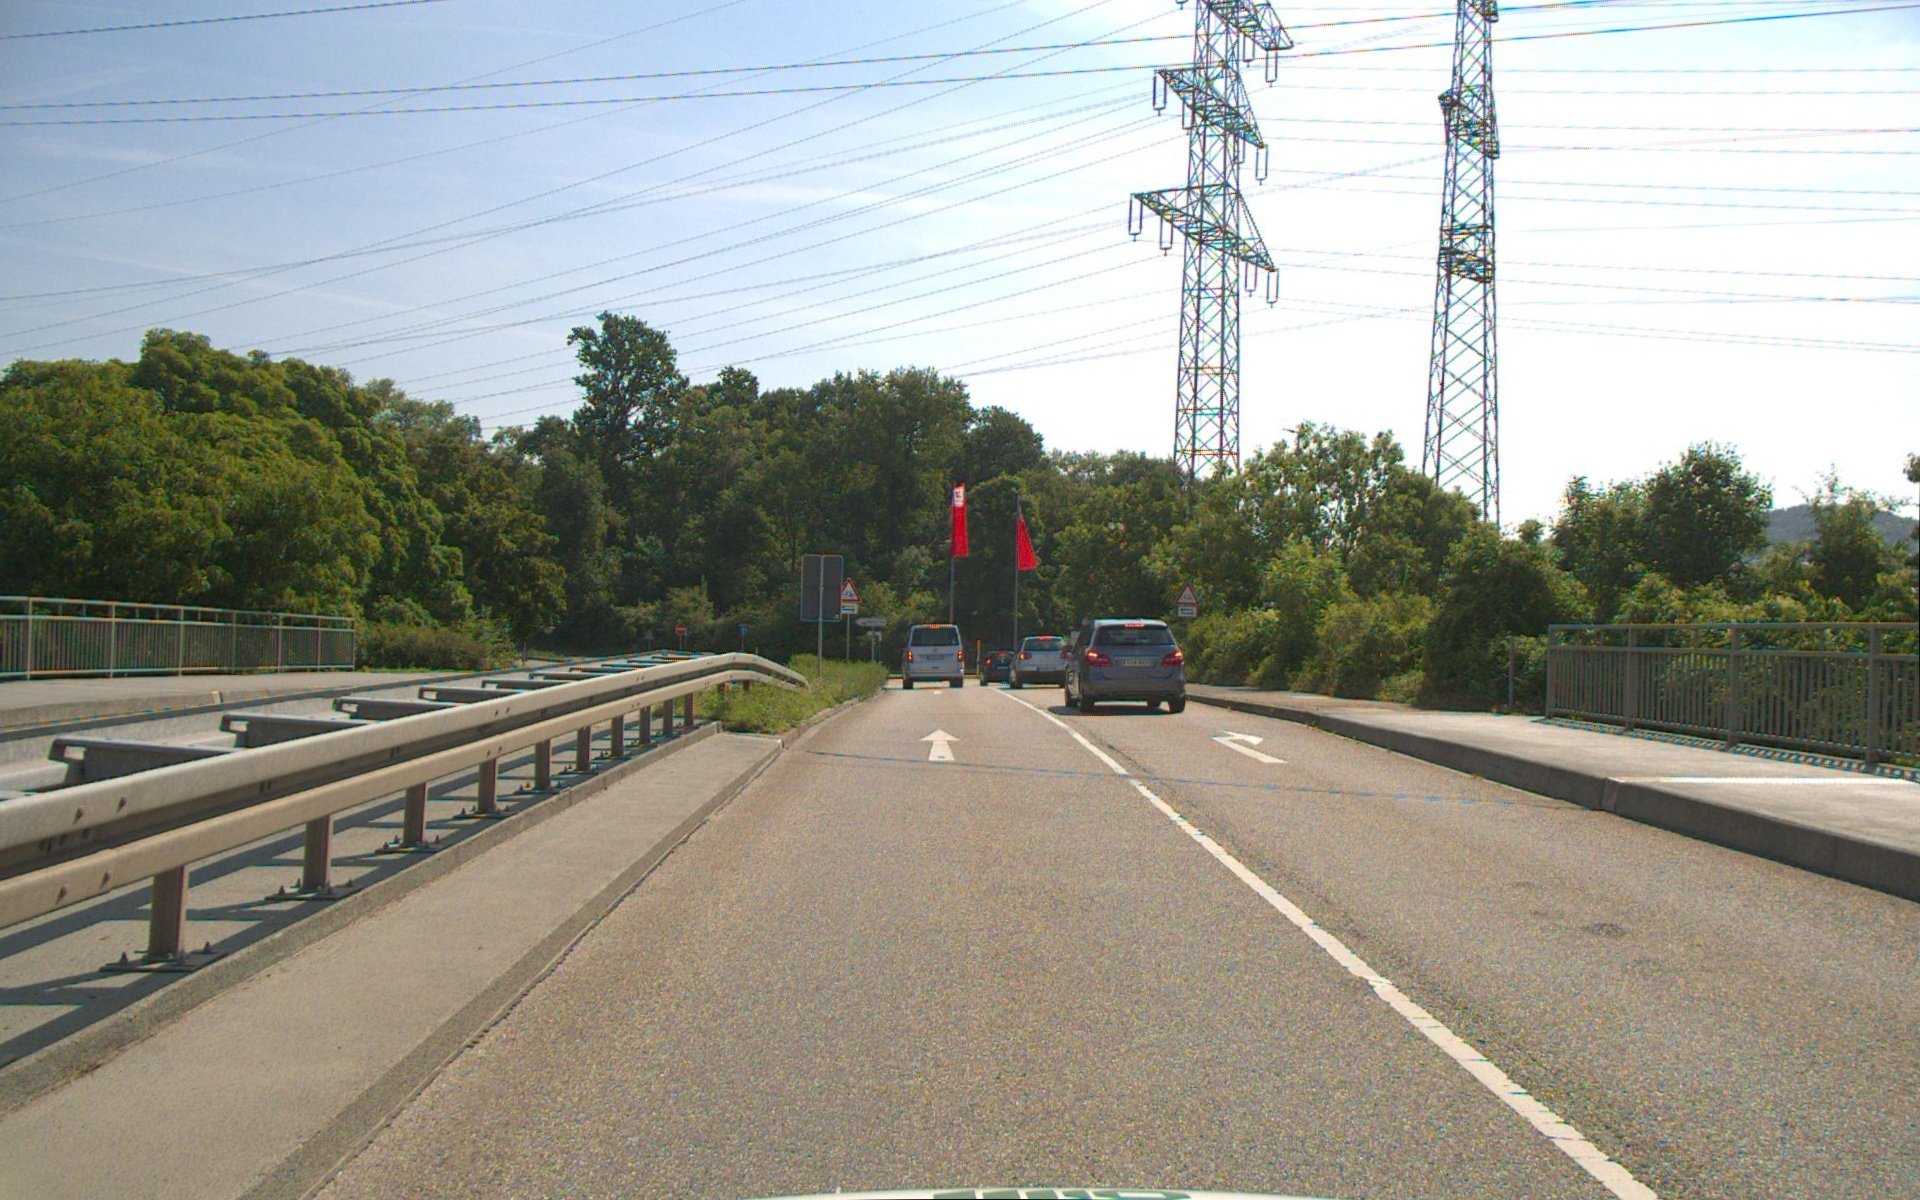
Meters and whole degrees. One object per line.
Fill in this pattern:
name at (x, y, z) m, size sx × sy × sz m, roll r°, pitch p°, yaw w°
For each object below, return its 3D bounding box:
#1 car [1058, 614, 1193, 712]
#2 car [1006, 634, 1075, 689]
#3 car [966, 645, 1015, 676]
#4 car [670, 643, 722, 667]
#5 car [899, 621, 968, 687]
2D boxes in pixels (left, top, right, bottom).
car at (2.787, 1.058, 28.686) m, size 1.819 × 1.556 × 4.142 m, roll 0°, pitch -1°, yaw -2°
car at (2.328, 1.843, 48.957) m, size 1.818 × 1.556 × 4.143 m, roll 0°, pitch -3°, yaw 0°
car at (1.411, 2.733, 74.691) m, size 1.735 × 1.355 × 3.743 m, roll 0°, pitch -3°, yaw 8°
car at (-19.291, 4.010, 120.902) m, size 3.577 × 1.594 × 1.649 m, roll 1°, pitch 1°, yaw 30°
car at (-0.897, 1.711, 53.242) m, size 1.999 × 2.049 × 3.996 m, roll 0°, pitch -1°, yaw -4°
